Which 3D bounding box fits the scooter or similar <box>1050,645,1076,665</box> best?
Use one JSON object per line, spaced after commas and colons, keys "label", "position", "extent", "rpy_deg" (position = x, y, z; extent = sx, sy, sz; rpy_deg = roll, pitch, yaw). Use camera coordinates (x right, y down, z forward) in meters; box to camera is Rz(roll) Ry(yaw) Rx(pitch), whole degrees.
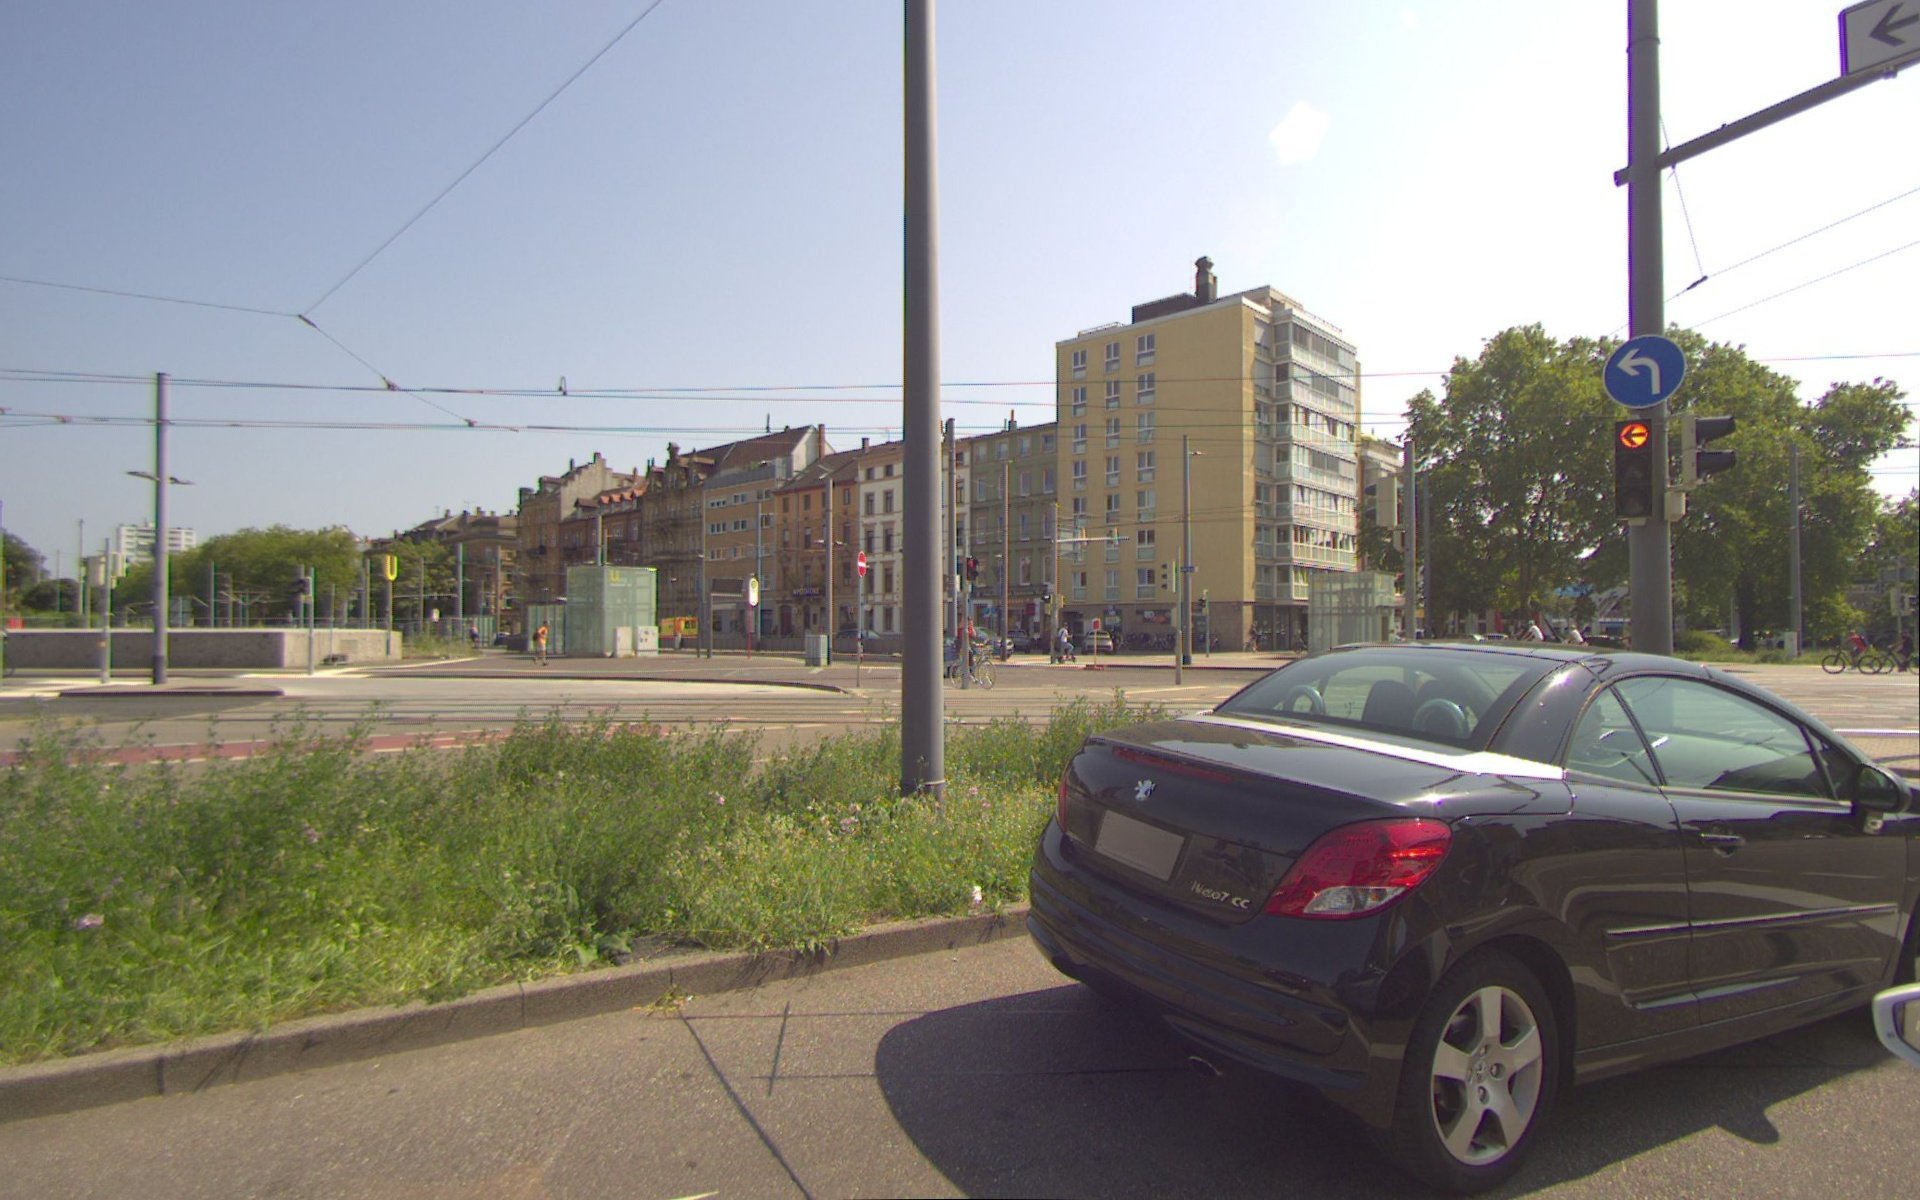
{"label": "scooter or similar", "position": [4.562, 2.423, 44.456], "extent": [1.133, 0.835, 0.517], "rpy_deg": [1, -2, -36]}

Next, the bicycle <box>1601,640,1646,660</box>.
{"label": "bicycle", "position": [32.686, 2.435, 49.524], "extent": [0.413, 0.954, 1.798], "rpy_deg": [2, -2, -42]}

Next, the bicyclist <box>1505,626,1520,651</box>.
{"label": "bicyclist", "position": [28.854, 2.012, 52.457], "extent": [0.555, 1.310, 0.539], "rpy_deg": [2, -2, -41]}

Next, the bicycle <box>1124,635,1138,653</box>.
{"label": "bicycle", "position": [11.854, 3.049, 69.570], "extent": [0.680, 1.220, 2.793], "rpy_deg": [0, -2, 4]}

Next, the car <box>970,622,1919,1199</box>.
{"label": "car", "position": [2.095, 0.823, 3.826], "extent": [3.731, 1.406, 1.759], "rpy_deg": [1, 0, -26]}

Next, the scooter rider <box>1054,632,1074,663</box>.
{"label": "scooter rider", "position": [4.614, 2.104, 44.615], "extent": [0.602, 1.371, 0.682], "rpy_deg": [1, -2, -35]}

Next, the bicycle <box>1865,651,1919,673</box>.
{"label": "bicycle", "position": [37.293, 2.470, 40.021], "extent": [1.836, 0.813, 0.604], "rpy_deg": [-1, -2, 43]}

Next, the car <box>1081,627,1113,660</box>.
{"label": "car", "position": [8.490, 2.645, 62.111], "extent": [1.767, 1.951, 4.003], "rpy_deg": [0, -2, 10]}

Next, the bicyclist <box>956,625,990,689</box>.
{"label": "bicyclist", "position": [0.313, 1.386, 24.664], "extent": [0.632, 1.529, 0.553], "rpy_deg": [1, -2, -36]}

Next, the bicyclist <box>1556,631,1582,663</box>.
{"label": "bicyclist", "position": [29.245, 2.265, 48.236], "extent": [0.553, 1.528, 0.905], "rpy_deg": [1, -2, -32]}

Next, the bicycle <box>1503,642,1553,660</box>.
{"label": "bicycle", "position": [26.950, 2.422, 47.694], "extent": [0.476, 0.813, 2.030], "rpy_deg": [2, -2, -42]}

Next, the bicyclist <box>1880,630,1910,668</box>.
{"label": "bicyclist", "position": [37.288, 1.933, 40.061], "extent": [0.861, 1.495, 0.543], "rpy_deg": [-1, -2, 43]}

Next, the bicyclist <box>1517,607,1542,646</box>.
{"label": "bicyclist", "position": [27.021, 1.255, 47.630], "extent": [0.494, 1.831, 0.915], "rpy_deg": [2, -2, -42]}

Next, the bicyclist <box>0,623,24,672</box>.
{"label": "bicyclist", "position": [-29.375, 1.429, 30.637], "extent": [0.989, 1.446, 0.655], "rpy_deg": [2, 0, -4]}

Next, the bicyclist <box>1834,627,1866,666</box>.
{"label": "bicyclist", "position": [34.482, 1.793, 38.931], "extent": [0.494, 1.502, 0.863], "rpy_deg": [2, -2, -41]}

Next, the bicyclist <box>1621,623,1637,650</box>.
{"label": "bicyclist", "position": [32.827, 1.801, 49.272], "extent": [0.555, 1.310, 0.539], "rpy_deg": [2, -2, -41]}

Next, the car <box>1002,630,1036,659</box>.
{"label": "car", "position": [3.957, 2.932, 66.728], "extent": [1.767, 1.843, 4.003], "rpy_deg": [0, -2, 10]}

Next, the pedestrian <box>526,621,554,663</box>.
{"label": "pedestrian", "position": [-16.072, 1.609, 38.481], "extent": [0.844, 1.563, 0.742], "rpy_deg": [1, -2, -13]}

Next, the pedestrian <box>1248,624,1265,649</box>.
{"label": "pedestrian", "position": [18.973, 2.323, 64.276], "extent": [0.844, 1.563, 0.741], "rpy_deg": [-1, -2, 33]}

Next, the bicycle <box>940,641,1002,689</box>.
{"label": "bicycle", "position": [0.253, 1.576, 24.595], "extent": [0.499, 1.108, 1.918], "rpy_deg": [1, -2, -35]}

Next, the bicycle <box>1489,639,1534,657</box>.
{"label": "bicycle", "position": [28.839, 2.503, 52.530], "extent": [0.464, 0.954, 2.014], "rpy_deg": [2, -2, -42]}

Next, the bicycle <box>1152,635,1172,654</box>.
{"label": "bicycle", "position": [13.606, 2.978, 67.763], "extent": [0.892, 1.220, 3.265], "rpy_deg": [0, -2, 4]}

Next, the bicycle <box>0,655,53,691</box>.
{"label": "bicycle", "position": [-29.308, 2.209, 30.637], "extent": [2.316, 1.056, 0.962], "rpy_deg": [0, -2, -3]}

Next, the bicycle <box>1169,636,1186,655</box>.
{"label": "bicycle", "position": [14.492, 3.025, 67.114], "extent": [0.680, 1.220, 3.265], "rpy_deg": [0, -2, 4]}

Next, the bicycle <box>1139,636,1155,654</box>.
{"label": "bicycle", "position": [12.785, 3.052, 68.757], "extent": [0.680, 1.220, 3.265], "rpy_deg": [0, -2, 4]}

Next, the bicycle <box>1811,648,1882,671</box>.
{"label": "bicycle", "position": [34.404, 2.299, 39.006], "extent": [0.476, 0.813, 2.030], "rpy_deg": [2, -2, -42]}

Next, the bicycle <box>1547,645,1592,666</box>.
{"label": "bicycle", "position": [29.256, 2.637, 48.226], "extent": [0.562, 0.954, 1.803], "rpy_deg": [1, -2, -33]}
